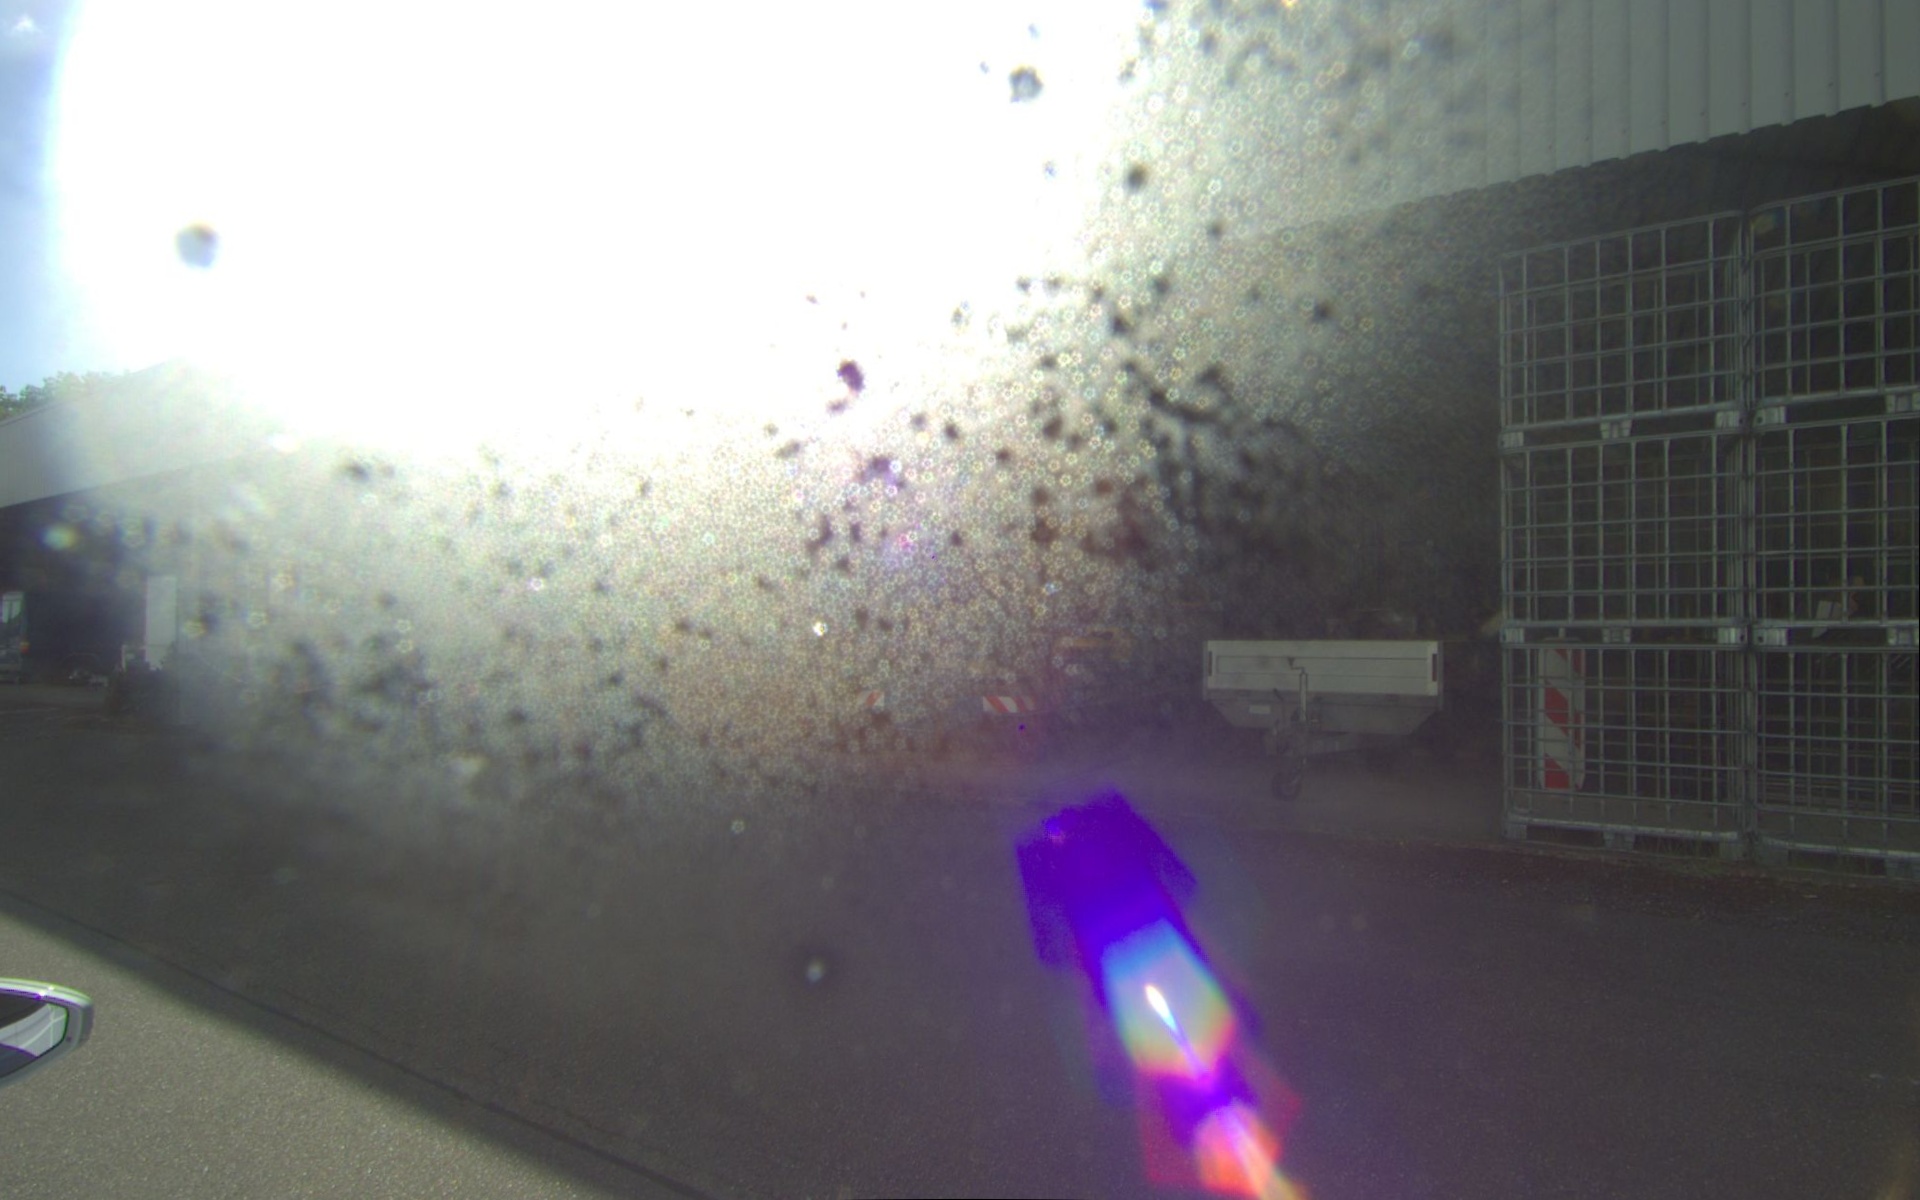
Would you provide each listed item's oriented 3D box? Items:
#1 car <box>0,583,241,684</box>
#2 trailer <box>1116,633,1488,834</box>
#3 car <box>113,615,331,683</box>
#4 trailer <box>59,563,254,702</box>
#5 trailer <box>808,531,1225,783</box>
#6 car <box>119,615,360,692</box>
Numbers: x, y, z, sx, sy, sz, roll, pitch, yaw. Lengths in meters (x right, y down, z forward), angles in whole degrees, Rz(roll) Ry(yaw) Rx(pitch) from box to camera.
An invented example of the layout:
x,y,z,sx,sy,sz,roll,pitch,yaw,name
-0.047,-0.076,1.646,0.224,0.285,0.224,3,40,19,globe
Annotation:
x,y,z,sx,sy,sz,roll,pitch,yaw,name
-21.374,0.936,25.637,1.890,2.337,4.425,-3,-4,33,car
3.501,0.915,9.174,2.110,1.148,5.840,-1,-1,30,trailer
-18.221,1.252,24.909,1.662,1.543,4.031,-3,-5,33,car
-15.267,0.631,19.092,1.703,2.429,2.518,-2,-2,33,trailer
1.009,0.522,11.155,2.049,2.058,5.753,-1,-1,33,trailer
-15.882,1.225,22.293,1.662,1.543,4.031,-3,-5,33,car
